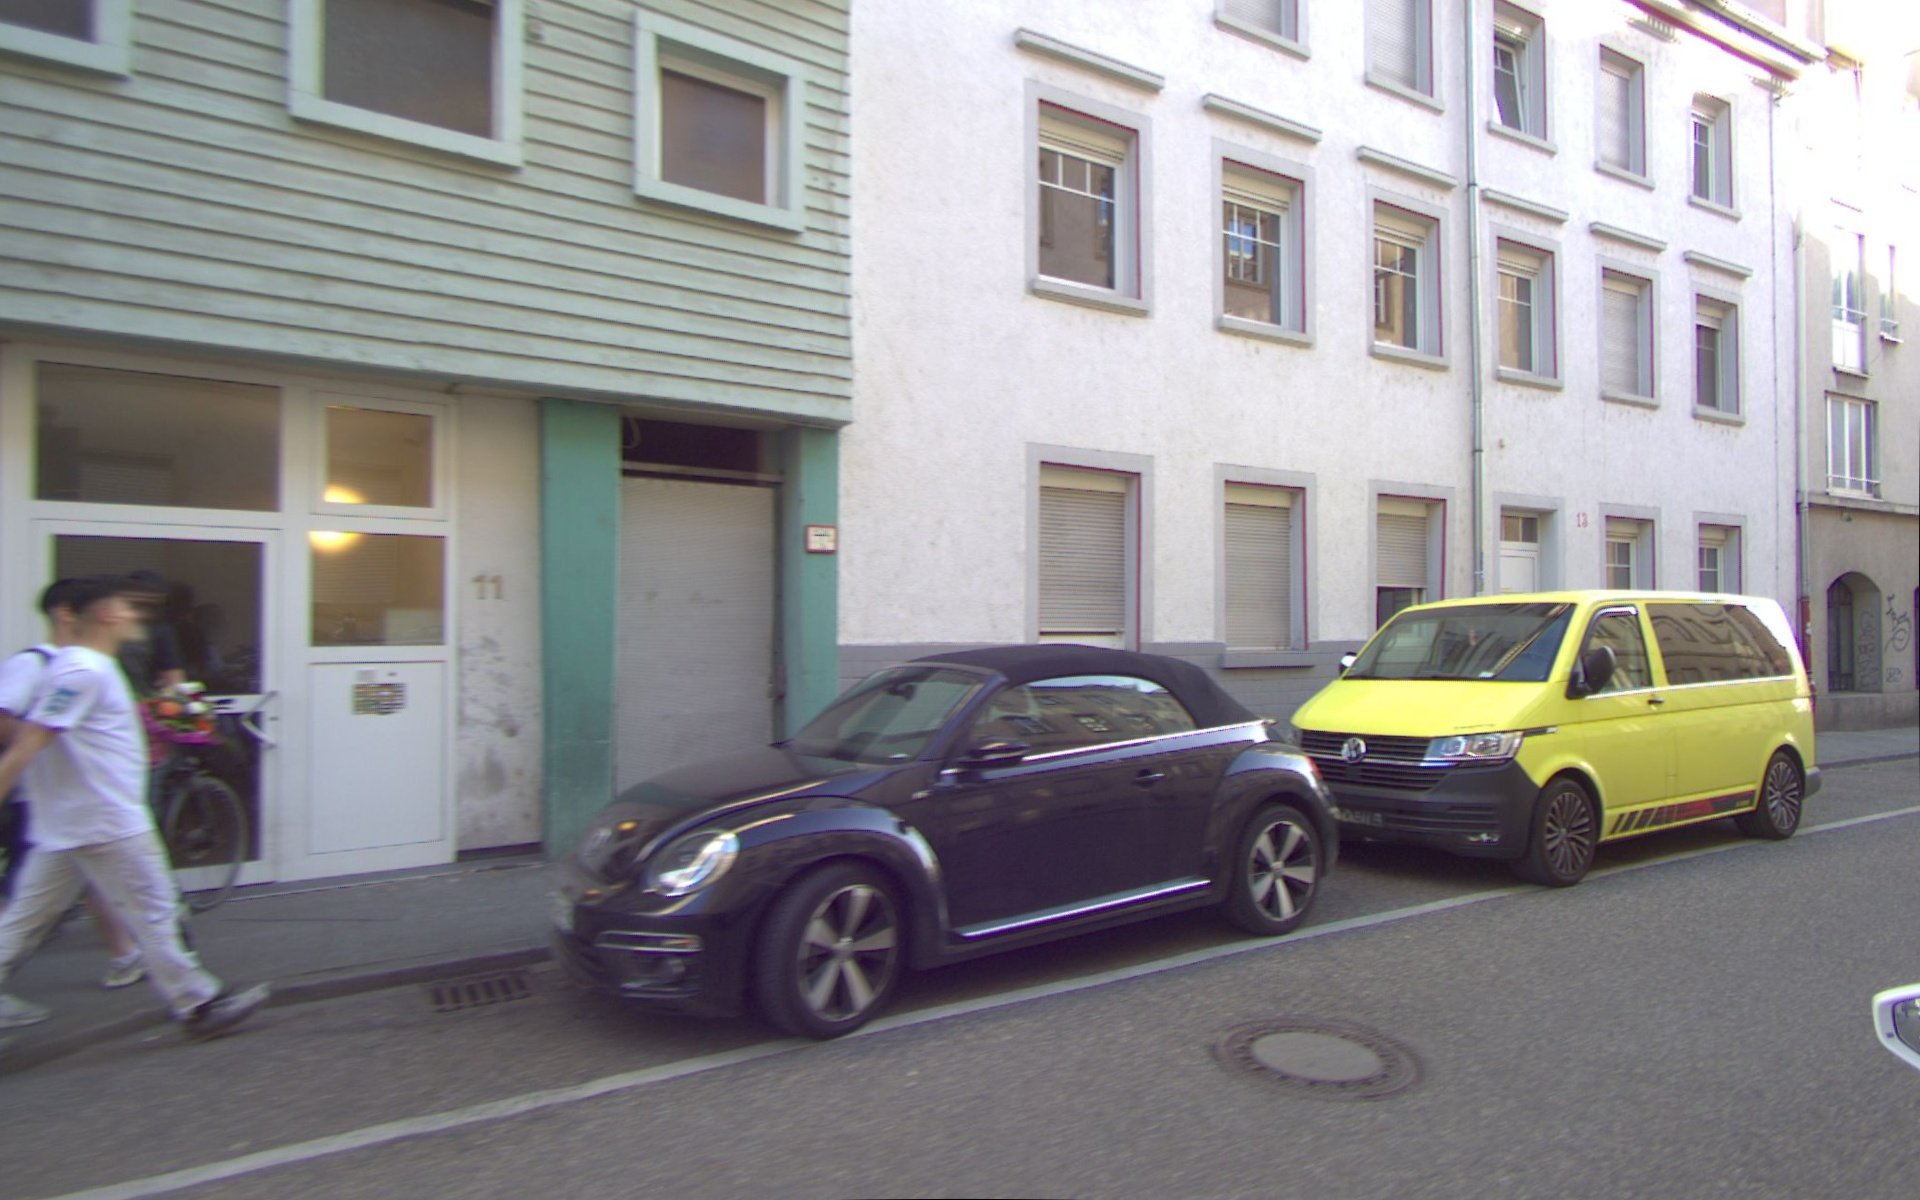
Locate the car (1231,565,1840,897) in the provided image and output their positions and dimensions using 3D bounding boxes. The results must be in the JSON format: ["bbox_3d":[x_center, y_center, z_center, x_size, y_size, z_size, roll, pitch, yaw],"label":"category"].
[{"bbox_3d":[4.557,0.845,7.777,4.806,1.891,1.872,1,-4,-30],"label":"car"}]

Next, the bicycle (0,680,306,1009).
[{"bbox_3d":[-4.192,1.036,4.930,0.808,1.178,2.133,0,-2,-8],"label":"bicycle"}]

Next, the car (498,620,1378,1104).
[{"bbox_3d":[0.006,0.915,5.015,4.031,1.505,1.810,1,-4,-32],"label":"car"}]

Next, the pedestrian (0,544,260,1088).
[{"bbox_3d":[-3.111,0.715,3.678,0.820,1.757,0.694,1,-3,-31],"label":"pedestrian"}]

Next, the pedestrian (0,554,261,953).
[{"bbox_3d":[-4.197,0.691,4.970,0.787,1.751,1.080,0,-2,-8],"label":"pedestrian"}]

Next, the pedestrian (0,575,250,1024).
[{"bbox_3d":[-3.581,0.768,4.228,0.884,1.691,0.669,1,-3,-31],"label":"pedestrian"}]
